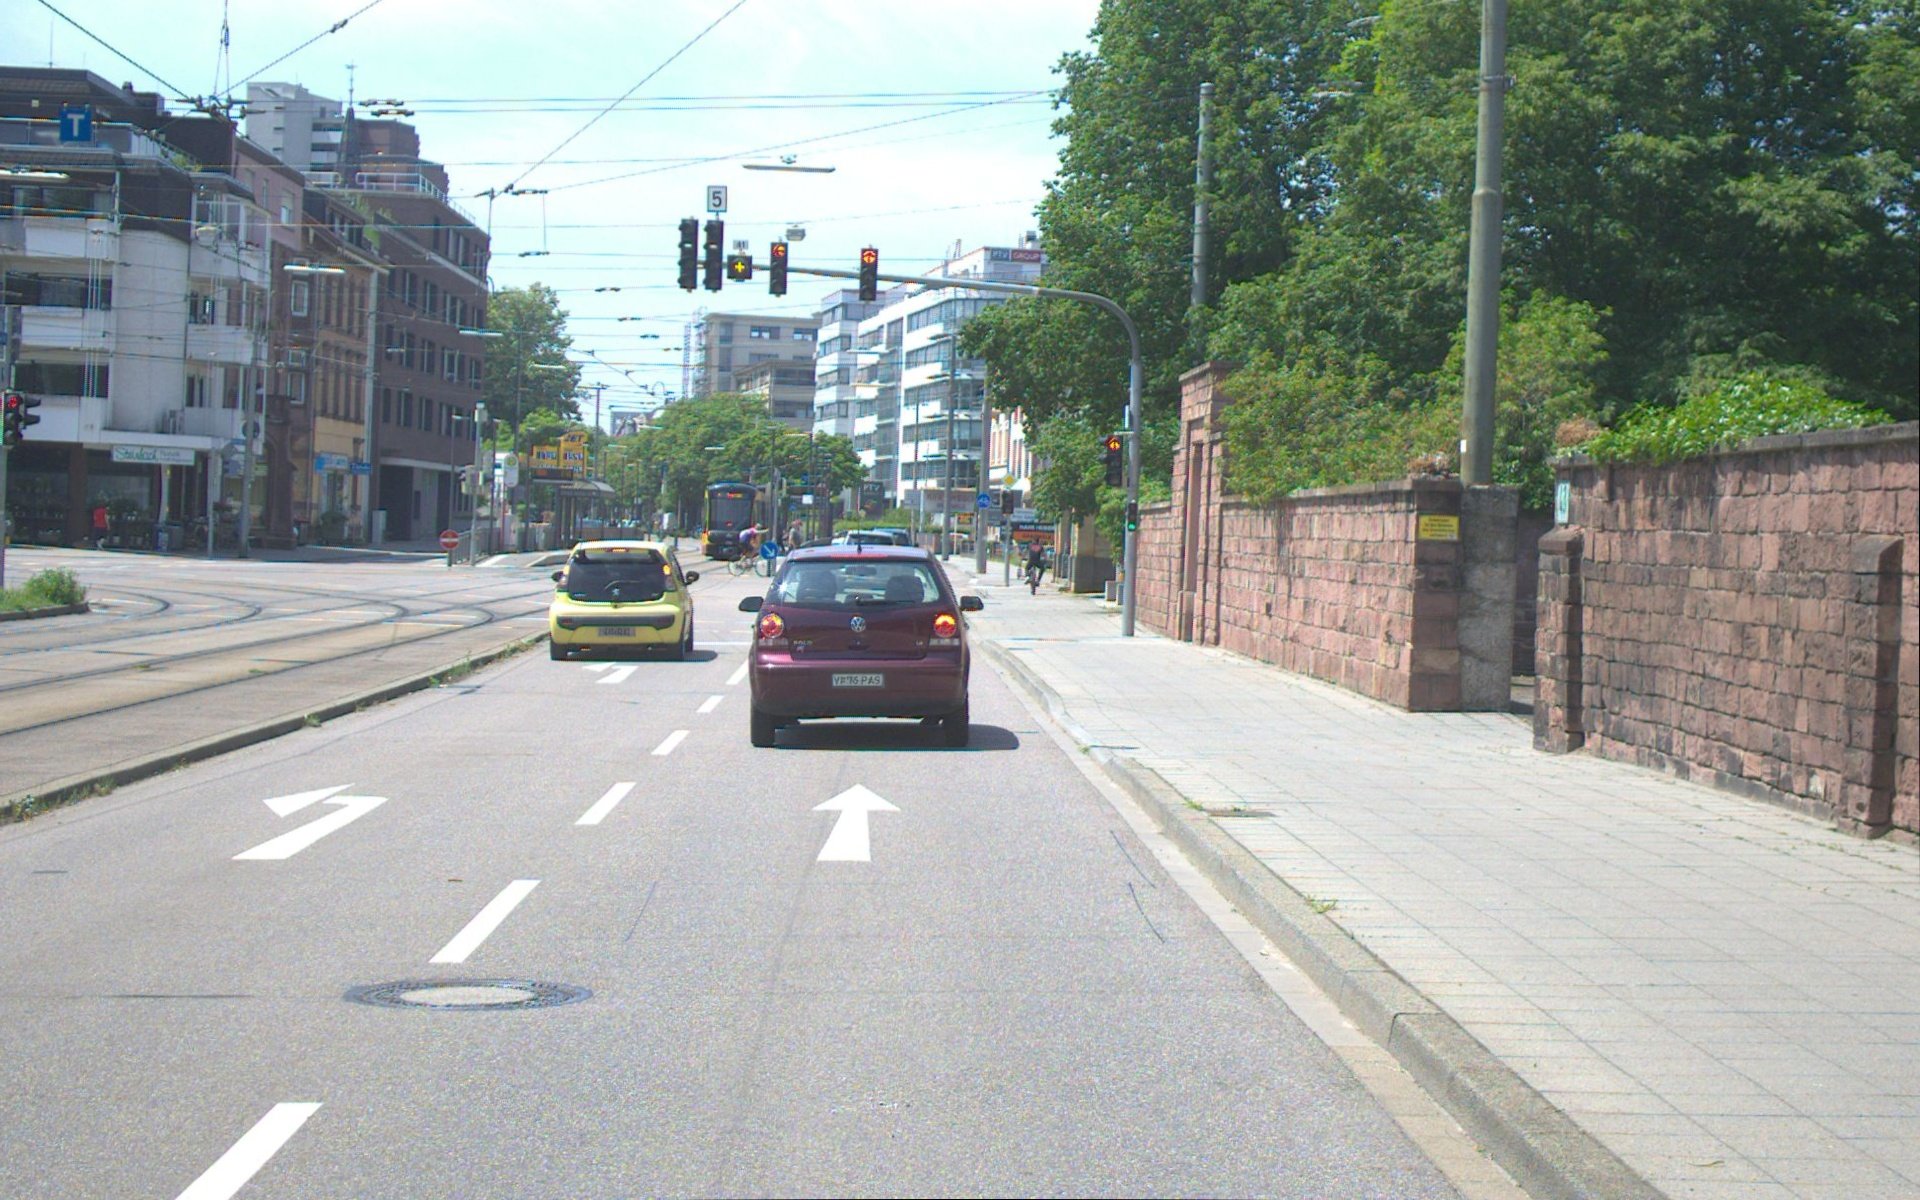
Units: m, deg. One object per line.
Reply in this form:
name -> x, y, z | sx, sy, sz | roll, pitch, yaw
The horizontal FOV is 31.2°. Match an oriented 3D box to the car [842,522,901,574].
car -> -2.434, -1.449, 94.515 | 1.572, 1.411, 3.720 | 0, 1, -1

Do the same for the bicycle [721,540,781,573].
bicycle -> -6.573, -1.354, 108.018 | 1.865, 1.004, 0.579 | 1, 0, -5

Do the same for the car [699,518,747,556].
car -> -10.640, -2.803, 154.409 | 1.938, 1.635, 4.000 | 1, 0, -1

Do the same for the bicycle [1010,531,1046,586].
bicycle -> 1.933, -1.184, 98.176 | 0.835, 1.520, 4.000 | 1, 0, -1

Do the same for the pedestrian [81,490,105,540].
pedestrian -> -26.878, -2.629, 106.592 | 0.484, 1.535, 0.537 | 1, 0, 25

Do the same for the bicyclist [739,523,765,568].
bicyclist -> -6.544, -1.716, 108.057 | 0.765, 1.401, 0.506 | 1, 0, -5

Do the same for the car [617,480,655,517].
car -> -18.043, -5.654, 191.594 | 1.735, 2.007, 4.000 | 2, 1, -1

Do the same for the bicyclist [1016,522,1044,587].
bicyclist -> 1.983, -1.272, 97.059 | 0.721, 1.812, 0.888 | 1, 0, -1

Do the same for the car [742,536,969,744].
car -> -0.794, 0.246, 26.405 | 1.610, 1.458, 4.086 | 0, 1, -1

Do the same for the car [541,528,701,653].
car -> -4.153, -0.144, 42.513 | 1.723, 1.440, 3.293 | 0, 2, -1

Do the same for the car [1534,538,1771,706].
car -> 6.681, 0.178, 33.417 | 1.480, 1.477, 2.945 | 3, 1, -3
